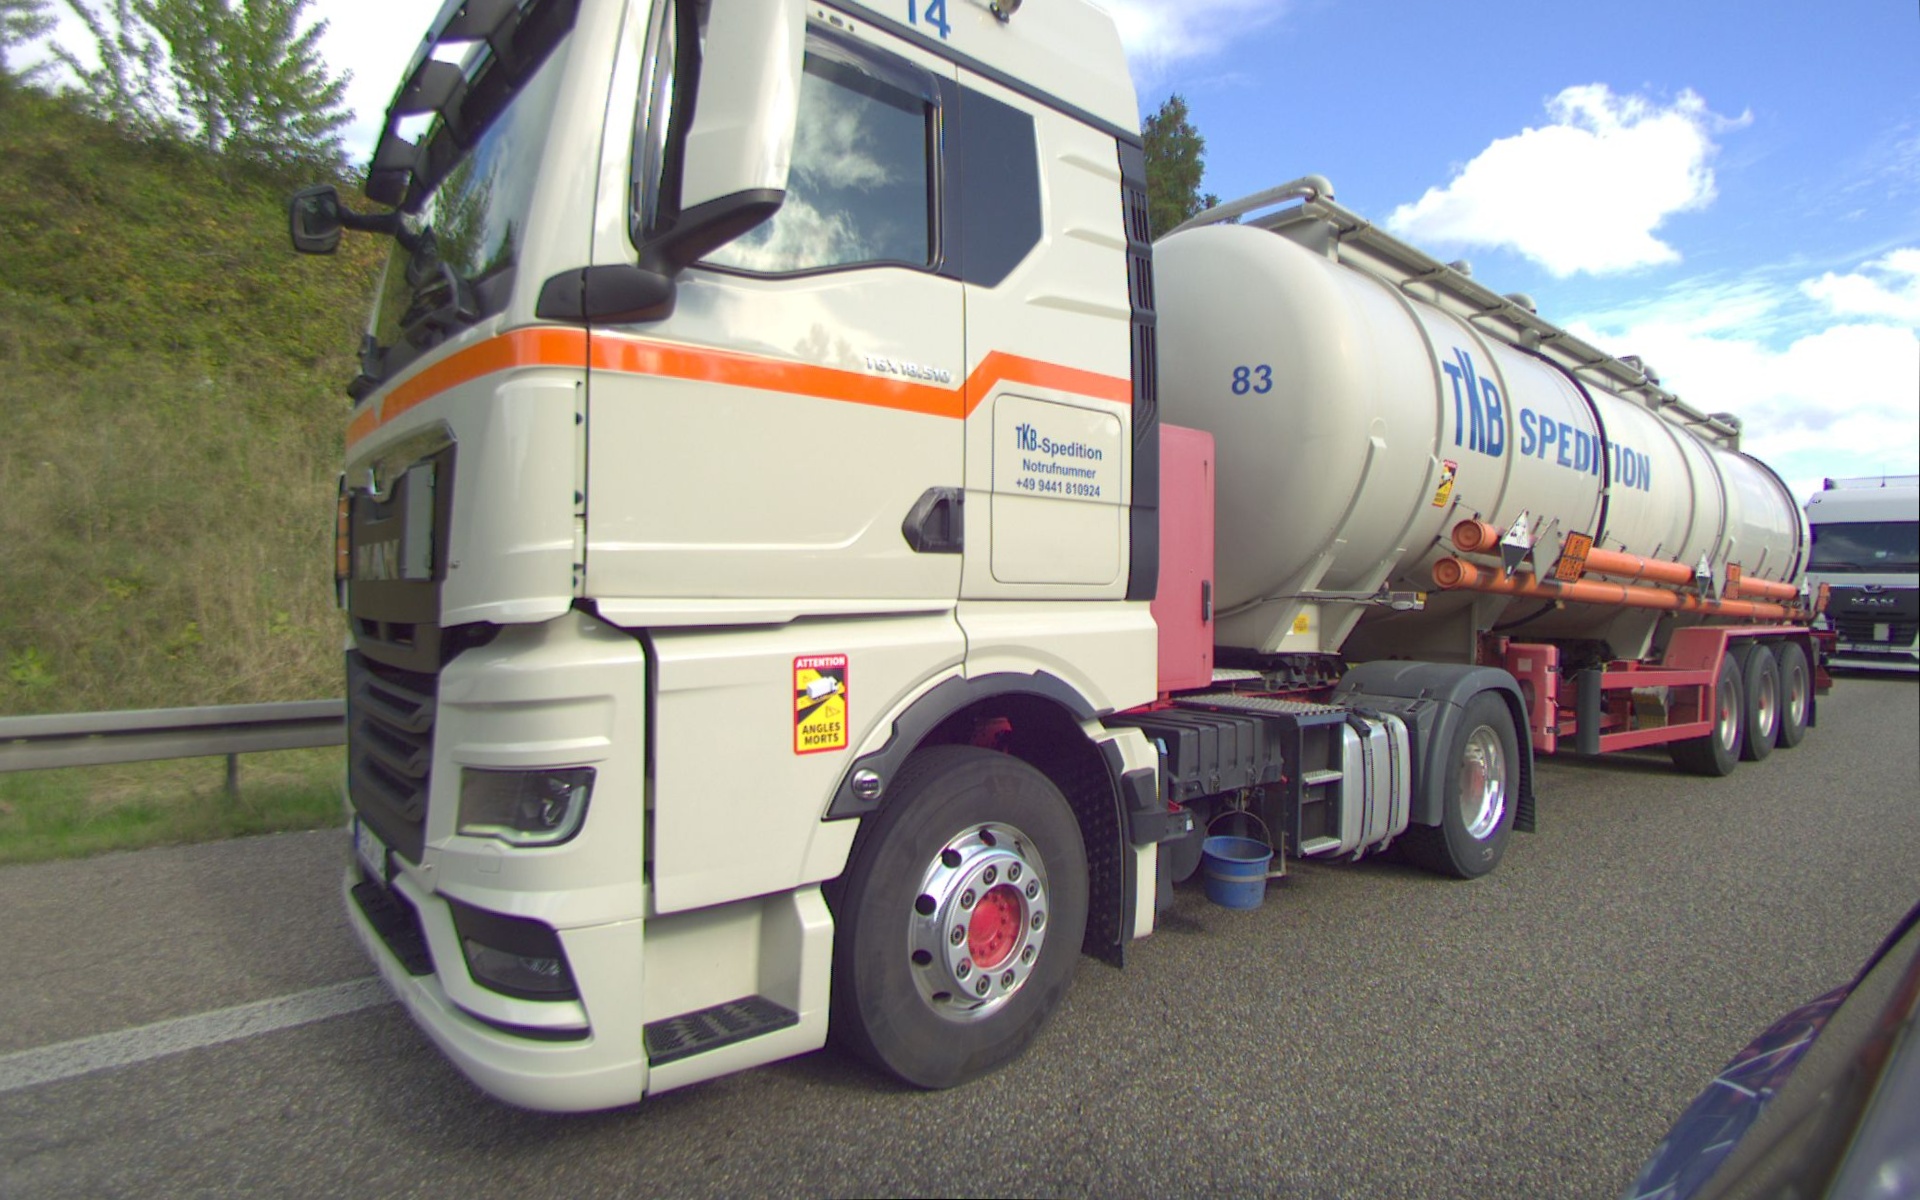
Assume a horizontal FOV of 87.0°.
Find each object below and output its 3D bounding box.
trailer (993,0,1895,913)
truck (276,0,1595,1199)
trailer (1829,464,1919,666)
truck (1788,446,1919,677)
[{"bbox_3d":[5.330,-0.751,8.907,10.982,4.077,2.804,0,1,-40],"label":"trailer"},{"bbox_3d":[0.371,-0.721,4.816,5.798,4.094,2.809,0,1,-39],"label":"truck"},{"bbox_3d":[24.657,-0.741,24.853,13.132,4.122,2.832,0,1,-40],"label":"trailer"},{"bbox_3d":[19.086,-0.711,20.261,5.605,4.122,2.840,0,1,-39],"label":"truck"}]
